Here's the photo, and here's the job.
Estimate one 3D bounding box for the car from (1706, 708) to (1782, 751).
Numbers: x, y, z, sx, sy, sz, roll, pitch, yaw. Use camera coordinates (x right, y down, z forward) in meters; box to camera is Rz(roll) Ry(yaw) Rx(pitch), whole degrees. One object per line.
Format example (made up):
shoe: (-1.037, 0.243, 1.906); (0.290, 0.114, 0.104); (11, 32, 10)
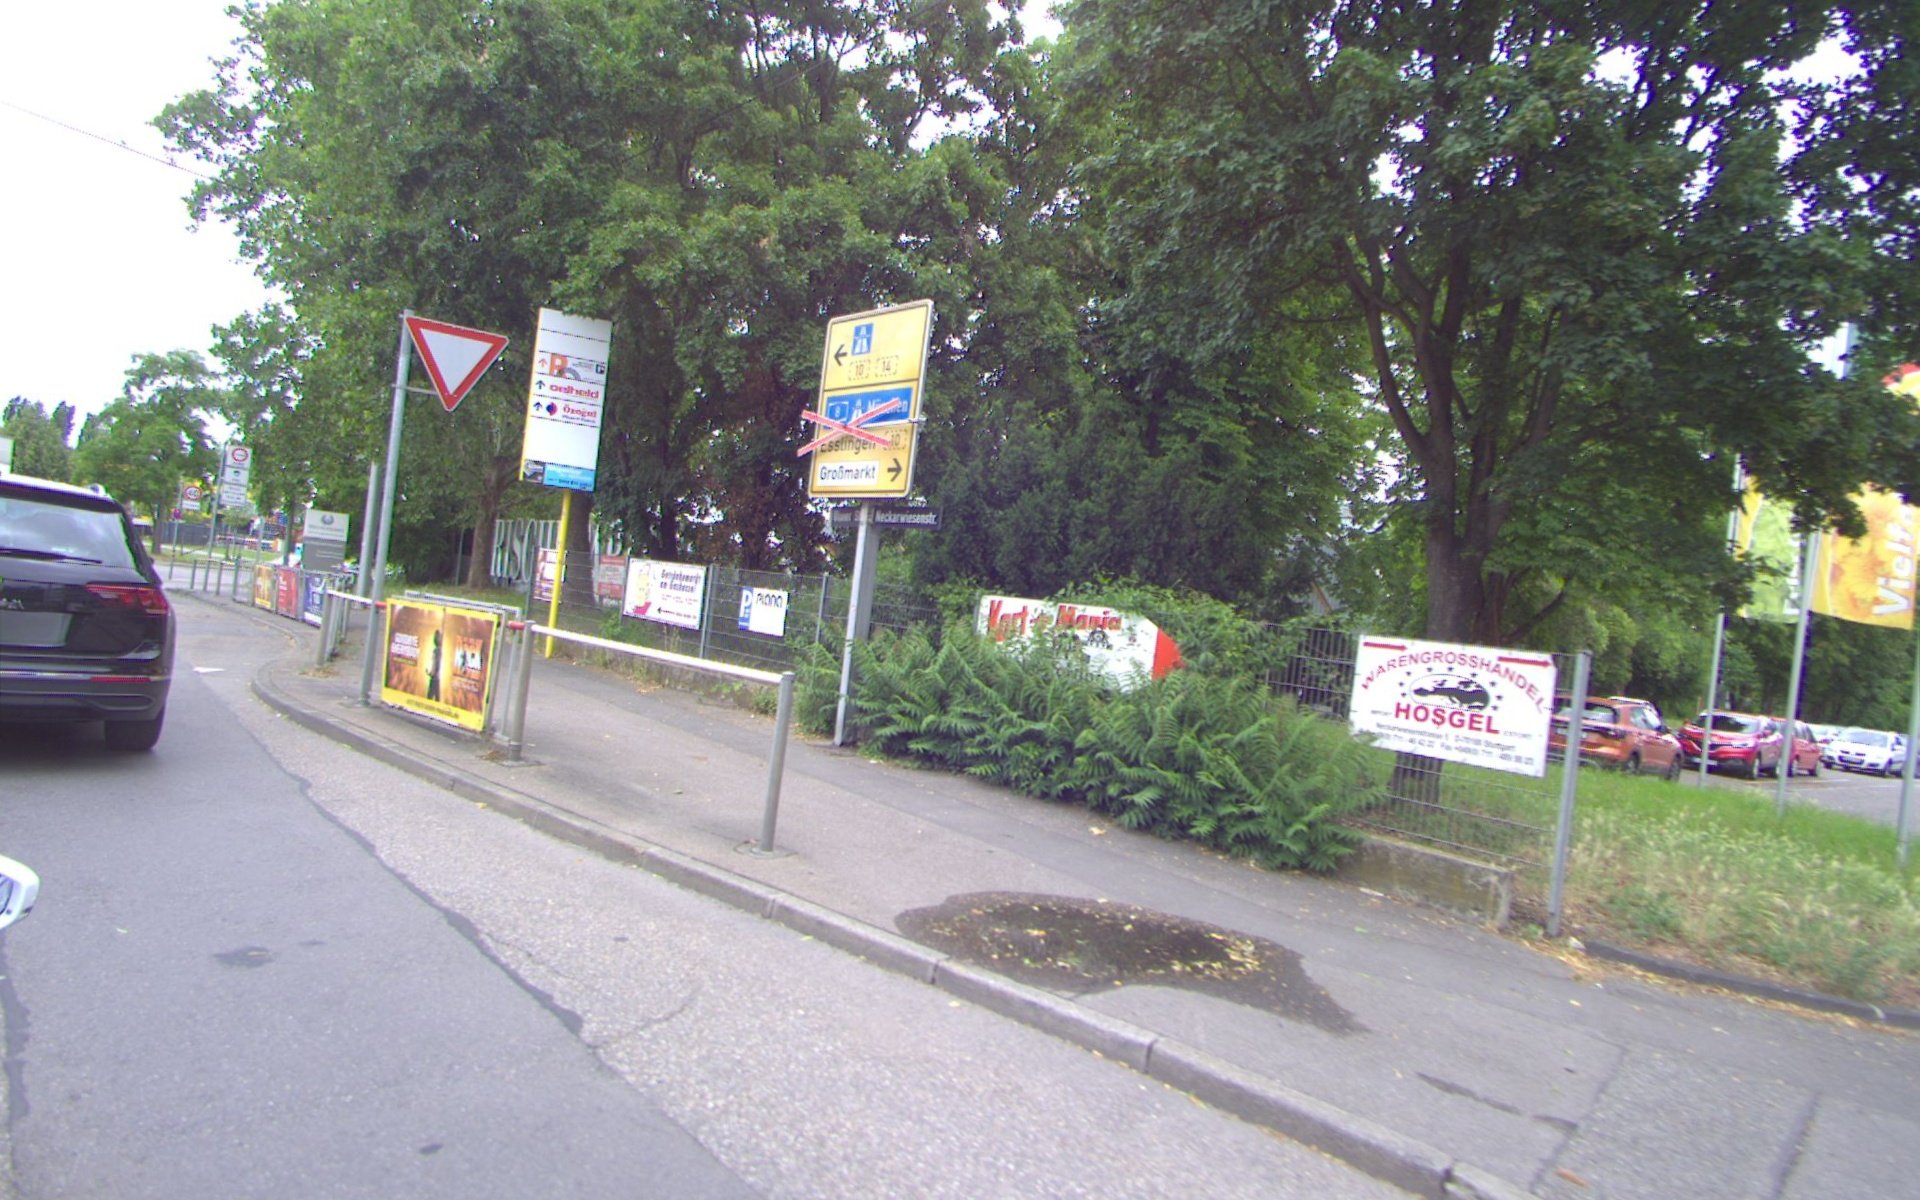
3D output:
car: (33.354, 5.531, 42.781); (3.630, 1.458, 1.581); (8, 0, -37)

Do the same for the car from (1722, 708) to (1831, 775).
car: (23.827, 4.132, 29.318); (3.759, 1.614, 1.581); (8, 0, -38)

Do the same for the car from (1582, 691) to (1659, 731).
car: (27.434, 4.619, 41.745); (3.285, 1.283, 1.401); (8, 0, -33)

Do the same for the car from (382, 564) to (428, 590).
car: (-39.993, -1.621, 72.534); (1.688, 1.507, 3.368); (7, -2, -9)

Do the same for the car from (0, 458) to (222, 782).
car: (-6.477, -0.073, 6.463); (4.127, 1.654, 1.842); (7, -2, 42)

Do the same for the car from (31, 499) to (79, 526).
car: (-83.591, -8.055, 93.010); (1.946, 2.037, 4.195); (8, -1, -25)

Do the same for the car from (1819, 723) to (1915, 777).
car: (32.178, 5.335, 35.653); (3.770, 1.531, 1.583); (8, 0, -34)

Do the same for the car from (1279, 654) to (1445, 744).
car: (9.017, 2.223, 22.476); (3.708, 1.600, 1.620); (8, 0, -36)

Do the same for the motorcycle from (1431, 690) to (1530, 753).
motorcycle: (10.968, 2.559, 21.184); (2.081, 1.102, 1.006); (8, 0, -39)

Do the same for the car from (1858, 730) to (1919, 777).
car: (36.070, 5.914, 38.537); (3.626, 1.458, 1.583); (8, 0, -34)

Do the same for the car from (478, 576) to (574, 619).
car: (-20.203, -0.093, 46.898); (3.708, 1.523, 1.463); (8, -1, -44)

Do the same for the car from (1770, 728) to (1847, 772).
car: (34.668, 6.134, 41.088); (3.630, 1.458, 1.581); (8, 0, -37)

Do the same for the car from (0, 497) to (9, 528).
car: (-66.146, -6.110, 67.504); (1.946, 2.037, 4.195); (8, -1, -25)

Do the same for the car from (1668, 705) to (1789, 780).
car: (19.927, 3.686, 26.052); (3.535, 1.585, 1.618); (8, 0, -39)

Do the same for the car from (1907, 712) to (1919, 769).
car: (46.131, 6.729, 46.407); (6.869, 2.509, 2.287); (8, 0, -38)

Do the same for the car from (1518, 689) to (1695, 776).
car: (12.301, 2.528, 19.062); (3.673, 1.264, 1.691); (8, -1, -39)
